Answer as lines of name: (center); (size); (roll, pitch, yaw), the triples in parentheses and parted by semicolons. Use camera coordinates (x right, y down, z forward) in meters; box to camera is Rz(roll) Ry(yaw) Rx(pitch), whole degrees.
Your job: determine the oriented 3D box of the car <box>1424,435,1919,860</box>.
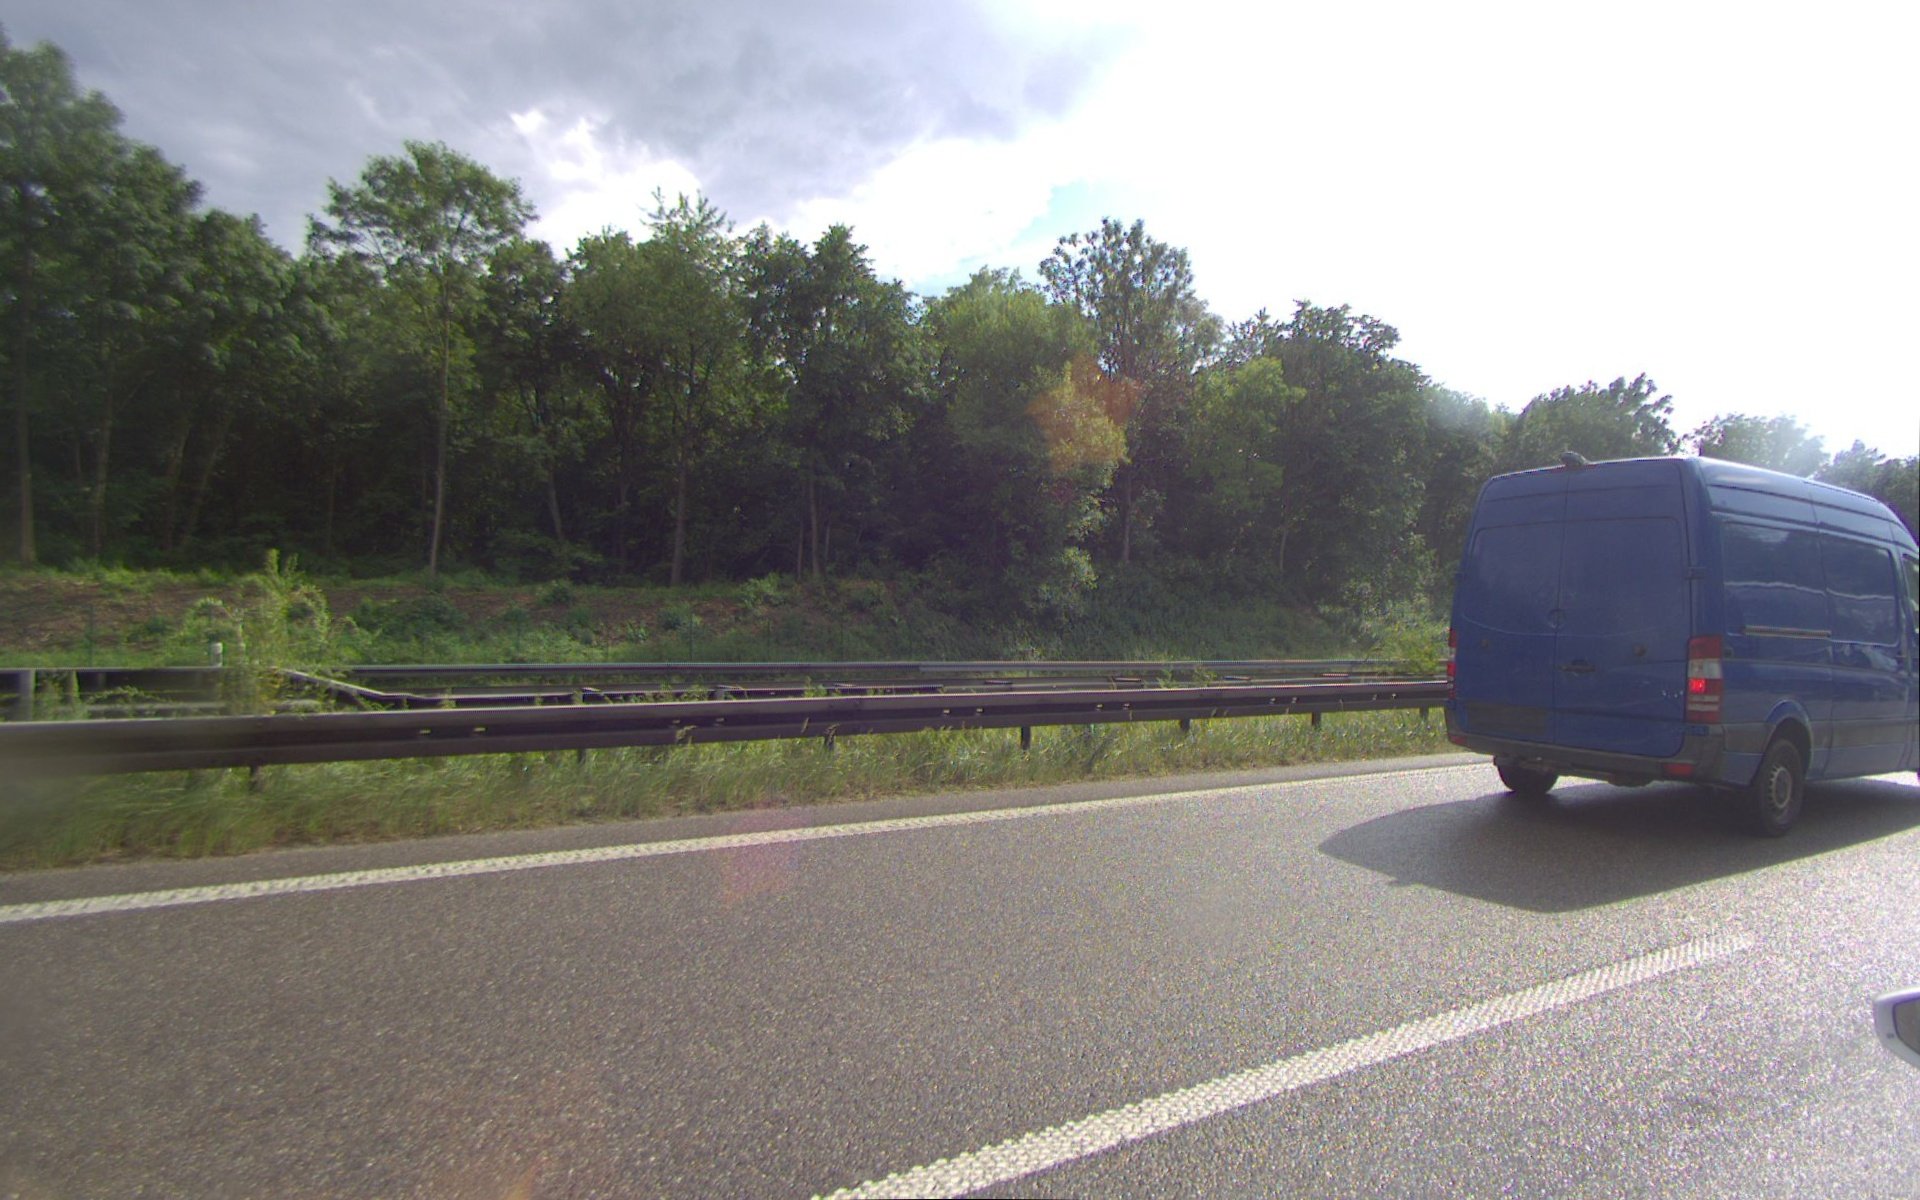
car: (6.715, 0.374, 8.683); (5.710, 2.684, 2.006); (2, 0, -31)
